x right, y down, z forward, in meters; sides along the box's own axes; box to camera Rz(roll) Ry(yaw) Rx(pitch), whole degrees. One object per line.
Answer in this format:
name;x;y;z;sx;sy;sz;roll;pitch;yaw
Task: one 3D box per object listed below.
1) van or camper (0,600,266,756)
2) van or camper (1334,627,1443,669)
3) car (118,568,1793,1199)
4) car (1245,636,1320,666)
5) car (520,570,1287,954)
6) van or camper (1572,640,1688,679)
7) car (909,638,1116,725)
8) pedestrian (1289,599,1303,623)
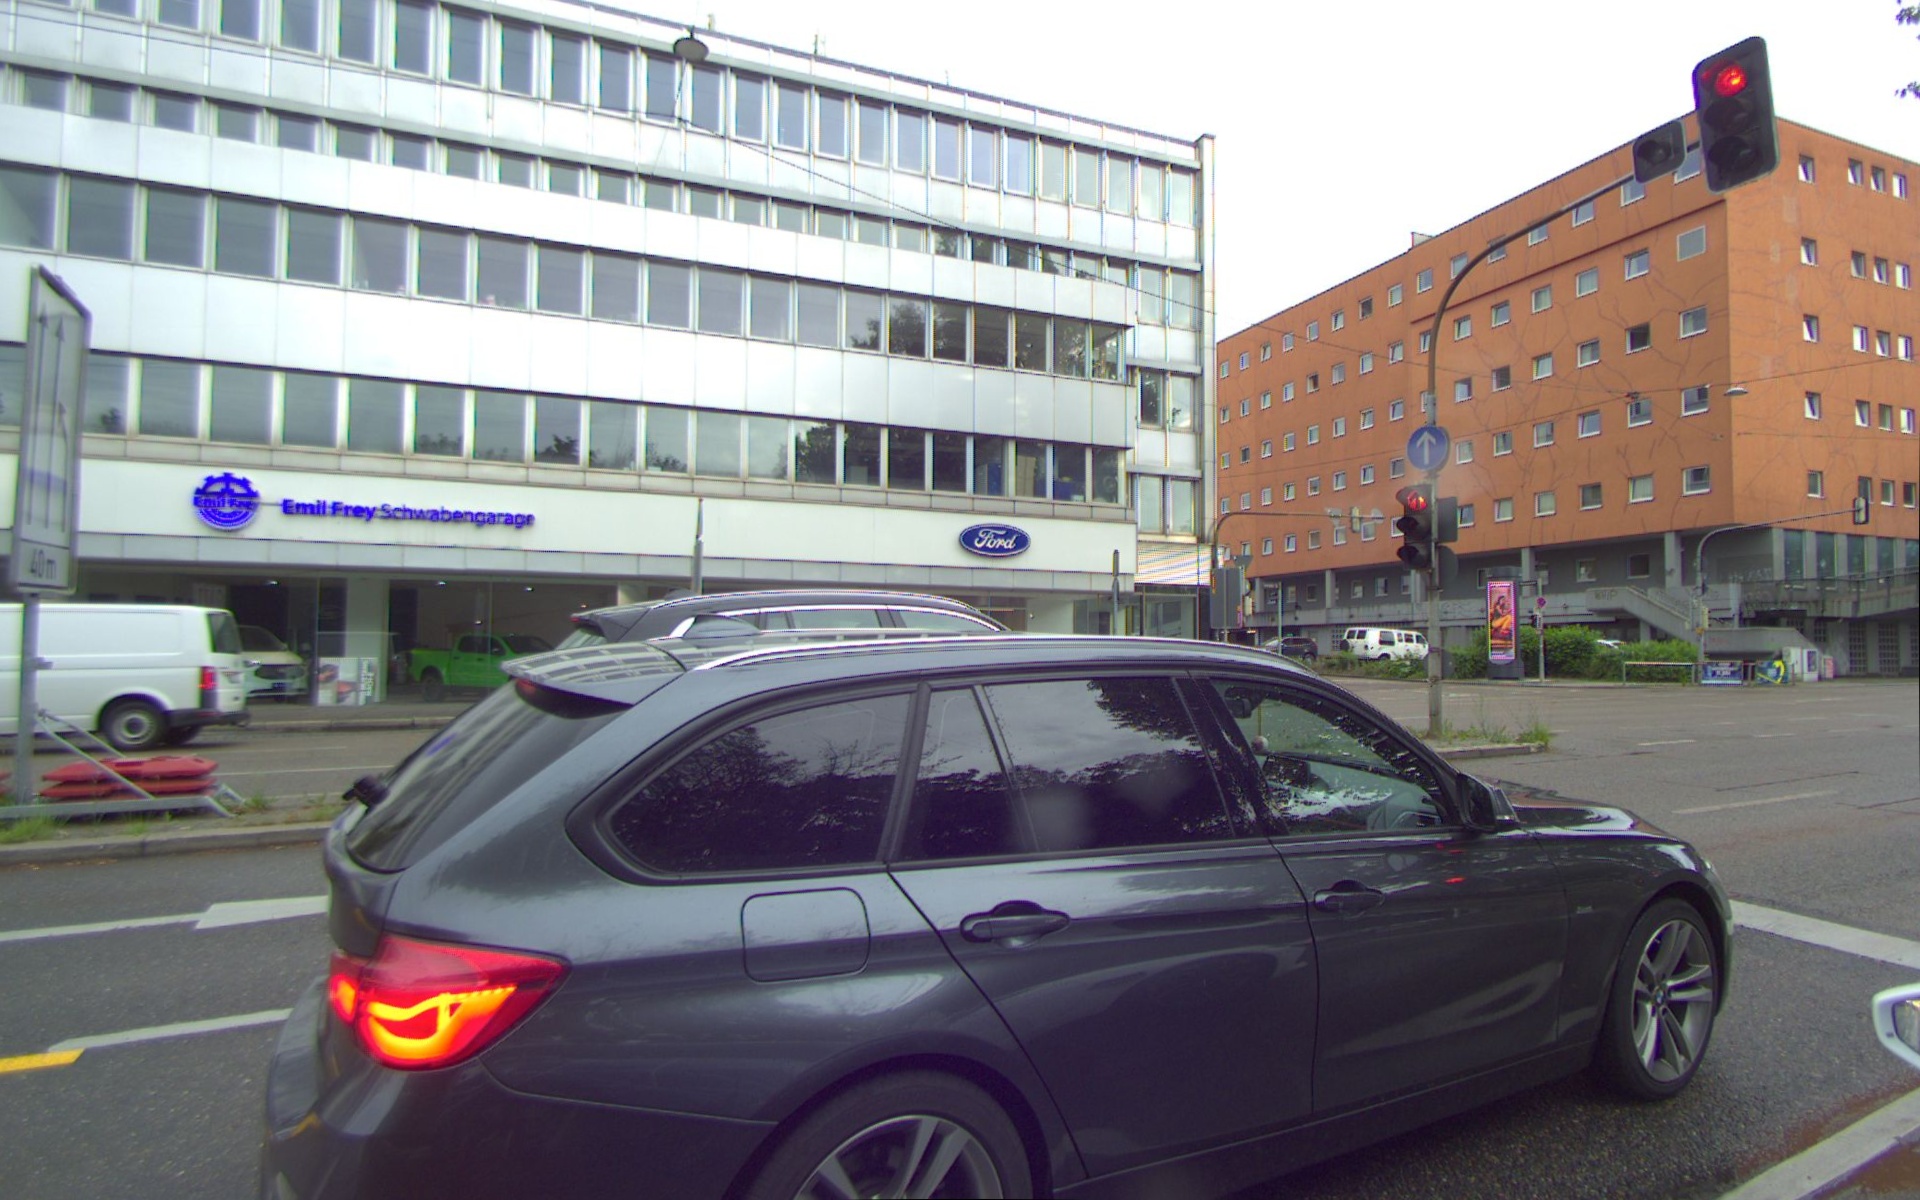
van or camper;-12.334;1.010;13.505;4.621;1.949;1.930;1;-2;-25
van or camper;22.355;2.520;52.378;5.376;2.004;2.121;2;0;-23
car;0.472;0.790;3.097;4.424;1.477;1.769;2;-3;-30
car;18.967;2.996;59.012;4.027;1.633;1.706;2;0;-23
car;-0.262;0.763;6.229;4.389;1.678;1.802;2;0;-28
van or camper;30.233;2.652;45.430;1.887;1.648;3.978;1;-2;-23
car;1.067;1.582;19.854;3.723;1.551;1.792;1;-6;-33
pedestrian;27.104;0.890;81.000;0.714;1.864;0.761;2;0;-21
